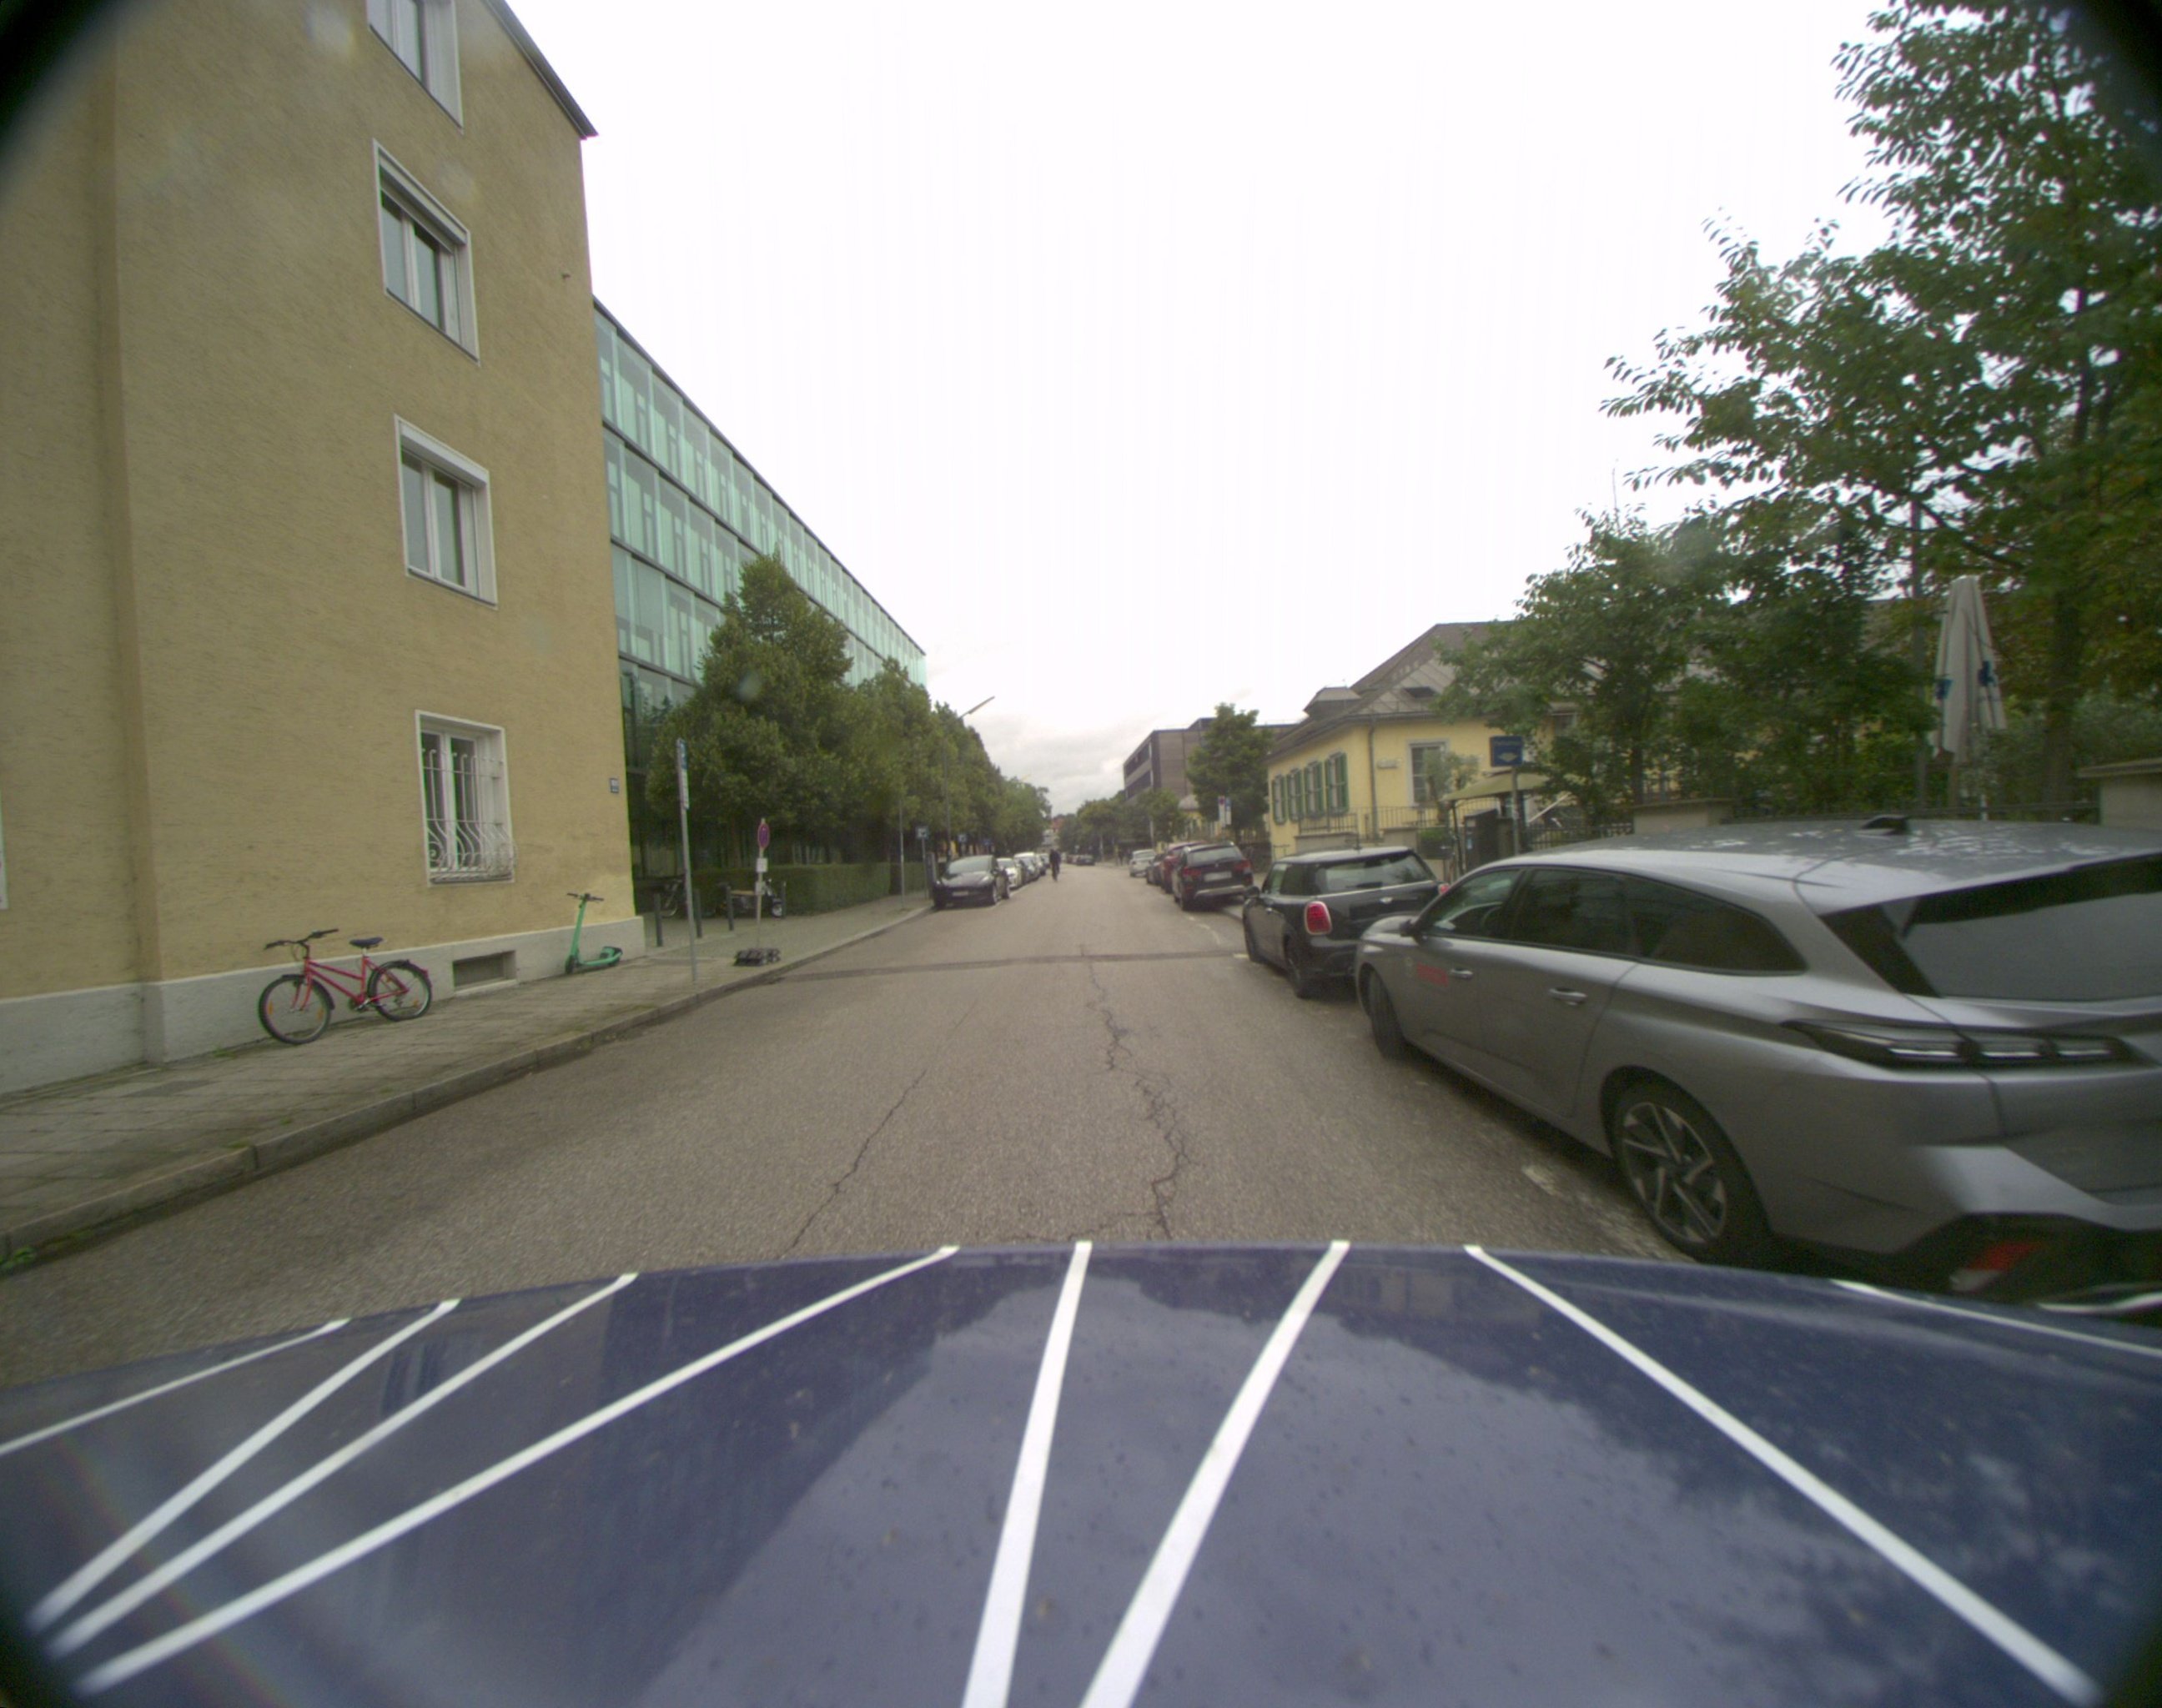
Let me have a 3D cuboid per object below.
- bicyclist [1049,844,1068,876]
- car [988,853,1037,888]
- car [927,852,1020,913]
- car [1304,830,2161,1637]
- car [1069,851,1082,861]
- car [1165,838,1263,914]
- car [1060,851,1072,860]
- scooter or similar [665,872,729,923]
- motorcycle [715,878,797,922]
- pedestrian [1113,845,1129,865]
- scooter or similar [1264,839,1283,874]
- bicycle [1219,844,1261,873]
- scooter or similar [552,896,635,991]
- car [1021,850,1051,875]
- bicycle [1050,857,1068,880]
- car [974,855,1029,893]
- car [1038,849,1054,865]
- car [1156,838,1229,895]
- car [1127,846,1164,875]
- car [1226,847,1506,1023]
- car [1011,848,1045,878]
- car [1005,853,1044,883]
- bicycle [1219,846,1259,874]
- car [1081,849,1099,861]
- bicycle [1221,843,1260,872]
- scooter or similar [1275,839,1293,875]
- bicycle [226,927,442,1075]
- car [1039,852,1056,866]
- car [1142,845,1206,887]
[{"bbox_3d":[-1.235,0.331,42.234,0.780,1.657,1.035,-5,0,5],"label":"bicyclist"},{"bbox_3d":[-3.586,0.811,40.555,1.967,1.543,4.849,-5,0,1],"label":"car"},{"bbox_3d":[-3.462,0.859,25.554,1.998,1.621,5.100,-5,1,3],"label":"car"},{"bbox_3d":[2.867,0.735,3.883,1.892,1.535,4.695,-4,0,-2],"label":"car"},{"bbox_3d":[-0.956,0.388,129.340,1.999,1.510,3.998,-5,1,-3],"label":"car"},{"bbox_3d":[3.323,0.475,19.838,1.850,1.598,4.743,-5,1,3],"label":"car"},{"bbox_3d":[-2.901,0.254,146.671,1.999,1.510,3.998,-5,1,-3],"label":"car"},{"bbox_3d":[-10.453,1.171,20.707,1.352,1.295,0.670,-2,3,-3],"label":"scooter or similar"},{"bbox_3d":[-8.798,1.236,20.623,1.898,1.126,0.708,-1,1,2],"label":"motorcycle"},{"bbox_3d":[4.402,0.092,83.602,1.480,2.002,1.500,-5,1,-3],"label":"pedestrian"},{"bbox_3d":[7.709,0.086,30.360,0.375,1.335,1.355,-3,1,28],"label":"scooter or similar"},{"bbox_3d":[7.086,0.209,33.893,1.705,1.165,0.352,-3,1,0],"label":"bicycle"},{"bbox_3d":[-7.300,1.308,11.428,0.343,1.248,1.309,-2,1,1],"label":"scooter or similar"},{"bbox_3d":[-3.402,0.637,58.360,1.872,1.682,4.784,-5,1,-1],"label":"car"},{"bbox_3d":[-1.203,0.806,42.229,0.720,1.199,1.802,-5,-1,5],"label":"bicycle"},{"bbox_3d":[-3.575,0.857,35.096,1.999,1.451,4.956,-5,0,-1],"label":"car"},{"bbox_3d":[-4.712,0.362,101.914,1.831,1.884,4.485,-5,1,-3],"label":"car"},{"bbox_3d":[3.815,0.367,26.741,1.906,1.682,4.808,-5,1,2],"label":"car"},{"bbox_3d":[3.747,0.323,44.475,1.729,1.483,4.461,-5,1,1],"label":"car"},{"bbox_3d":[2.975,0.723,8.972,1.863,1.536,4.188,-2,1,3],"label":"car"},{"bbox_3d":[-3.577,0.566,52.323,1.789,1.884,4.573,-5,1,1],"label":"car"},{"bbox_3d":[-3.389,0.829,46.445,1.952,1.543,5.004,-5,0,-1],"label":"car"},{"bbox_3d":[6.977,0.256,33.518,1.633,1.130,0.387,-3,1,0],"label":"bicycle"},{"bbox_3d":[1.158,0.088,100.282,1.929,1.390,4.485,-3,0,-3],"label":"car"},{"bbox_3d":[7.242,0.157,34.595,1.631,1.166,0.466,-4,1,9],"label":"bicycle"},{"bbox_3d":[7.779,0.102,29.076,0.363,1.306,1.255,-3,1,26],"label":"scooter or similar"},{"bbox_3d":[-7.394,1.399,7.647,0.343,1.129,1.759,-3,0,1],"label":"bicycle"},{"bbox_3d":[-4.309,0.599,95.858,1.959,1.494,4.485,-5,1,-3],"label":"car"},{"bbox_3d":[3.840,0.450,32.137,1.901,1.510,4.654,-5,1,-1],"label":"car"}]
